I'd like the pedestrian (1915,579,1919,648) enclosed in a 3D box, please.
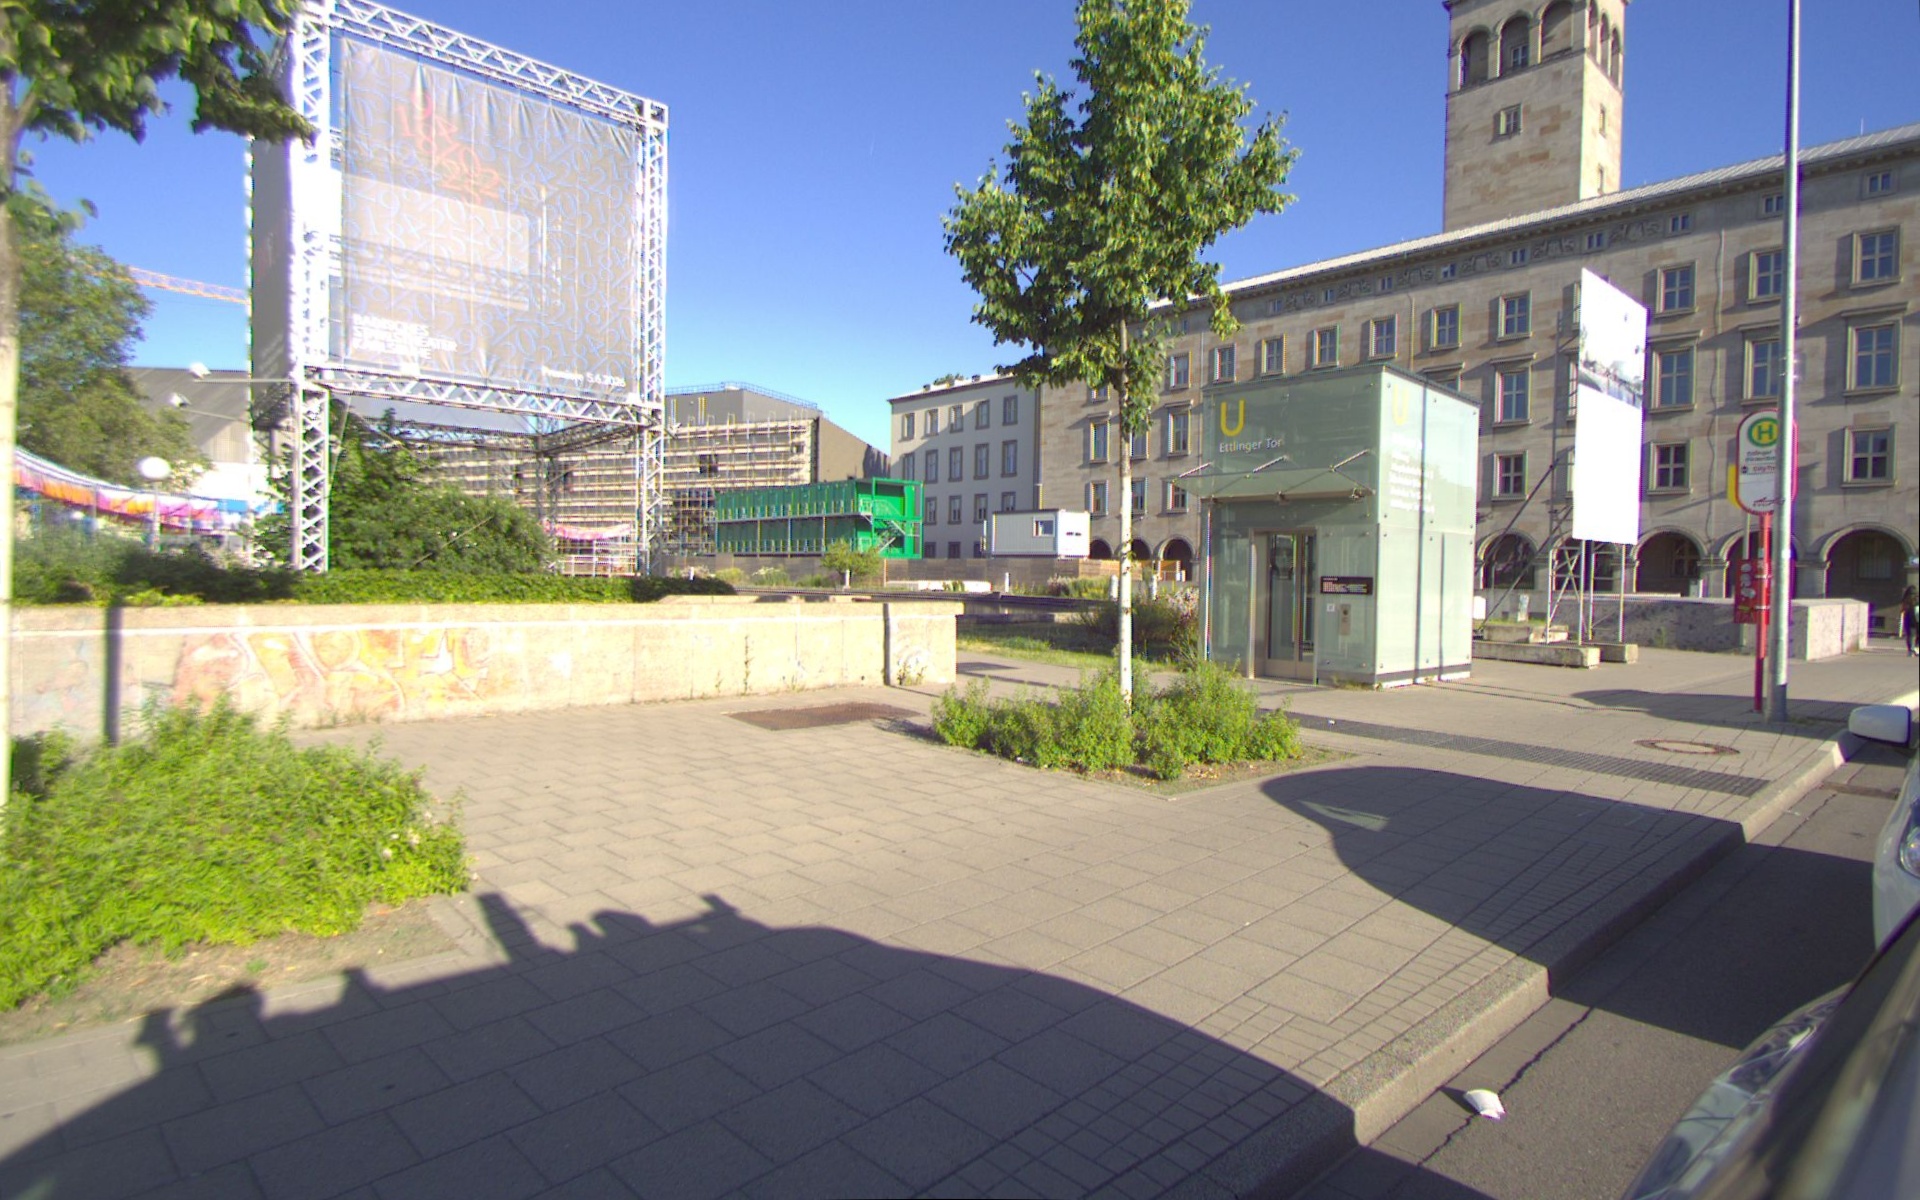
[{"bbox_3d":[24.265,0.351,25.258,0.543,1.723,0.551,0,1,-42],"label":"pedestrian"}]

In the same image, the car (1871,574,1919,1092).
[{"bbox_3d":[4.649,0.679,3.660,3.930,1.473,1.518,0,2,-41],"label":"car"}]
